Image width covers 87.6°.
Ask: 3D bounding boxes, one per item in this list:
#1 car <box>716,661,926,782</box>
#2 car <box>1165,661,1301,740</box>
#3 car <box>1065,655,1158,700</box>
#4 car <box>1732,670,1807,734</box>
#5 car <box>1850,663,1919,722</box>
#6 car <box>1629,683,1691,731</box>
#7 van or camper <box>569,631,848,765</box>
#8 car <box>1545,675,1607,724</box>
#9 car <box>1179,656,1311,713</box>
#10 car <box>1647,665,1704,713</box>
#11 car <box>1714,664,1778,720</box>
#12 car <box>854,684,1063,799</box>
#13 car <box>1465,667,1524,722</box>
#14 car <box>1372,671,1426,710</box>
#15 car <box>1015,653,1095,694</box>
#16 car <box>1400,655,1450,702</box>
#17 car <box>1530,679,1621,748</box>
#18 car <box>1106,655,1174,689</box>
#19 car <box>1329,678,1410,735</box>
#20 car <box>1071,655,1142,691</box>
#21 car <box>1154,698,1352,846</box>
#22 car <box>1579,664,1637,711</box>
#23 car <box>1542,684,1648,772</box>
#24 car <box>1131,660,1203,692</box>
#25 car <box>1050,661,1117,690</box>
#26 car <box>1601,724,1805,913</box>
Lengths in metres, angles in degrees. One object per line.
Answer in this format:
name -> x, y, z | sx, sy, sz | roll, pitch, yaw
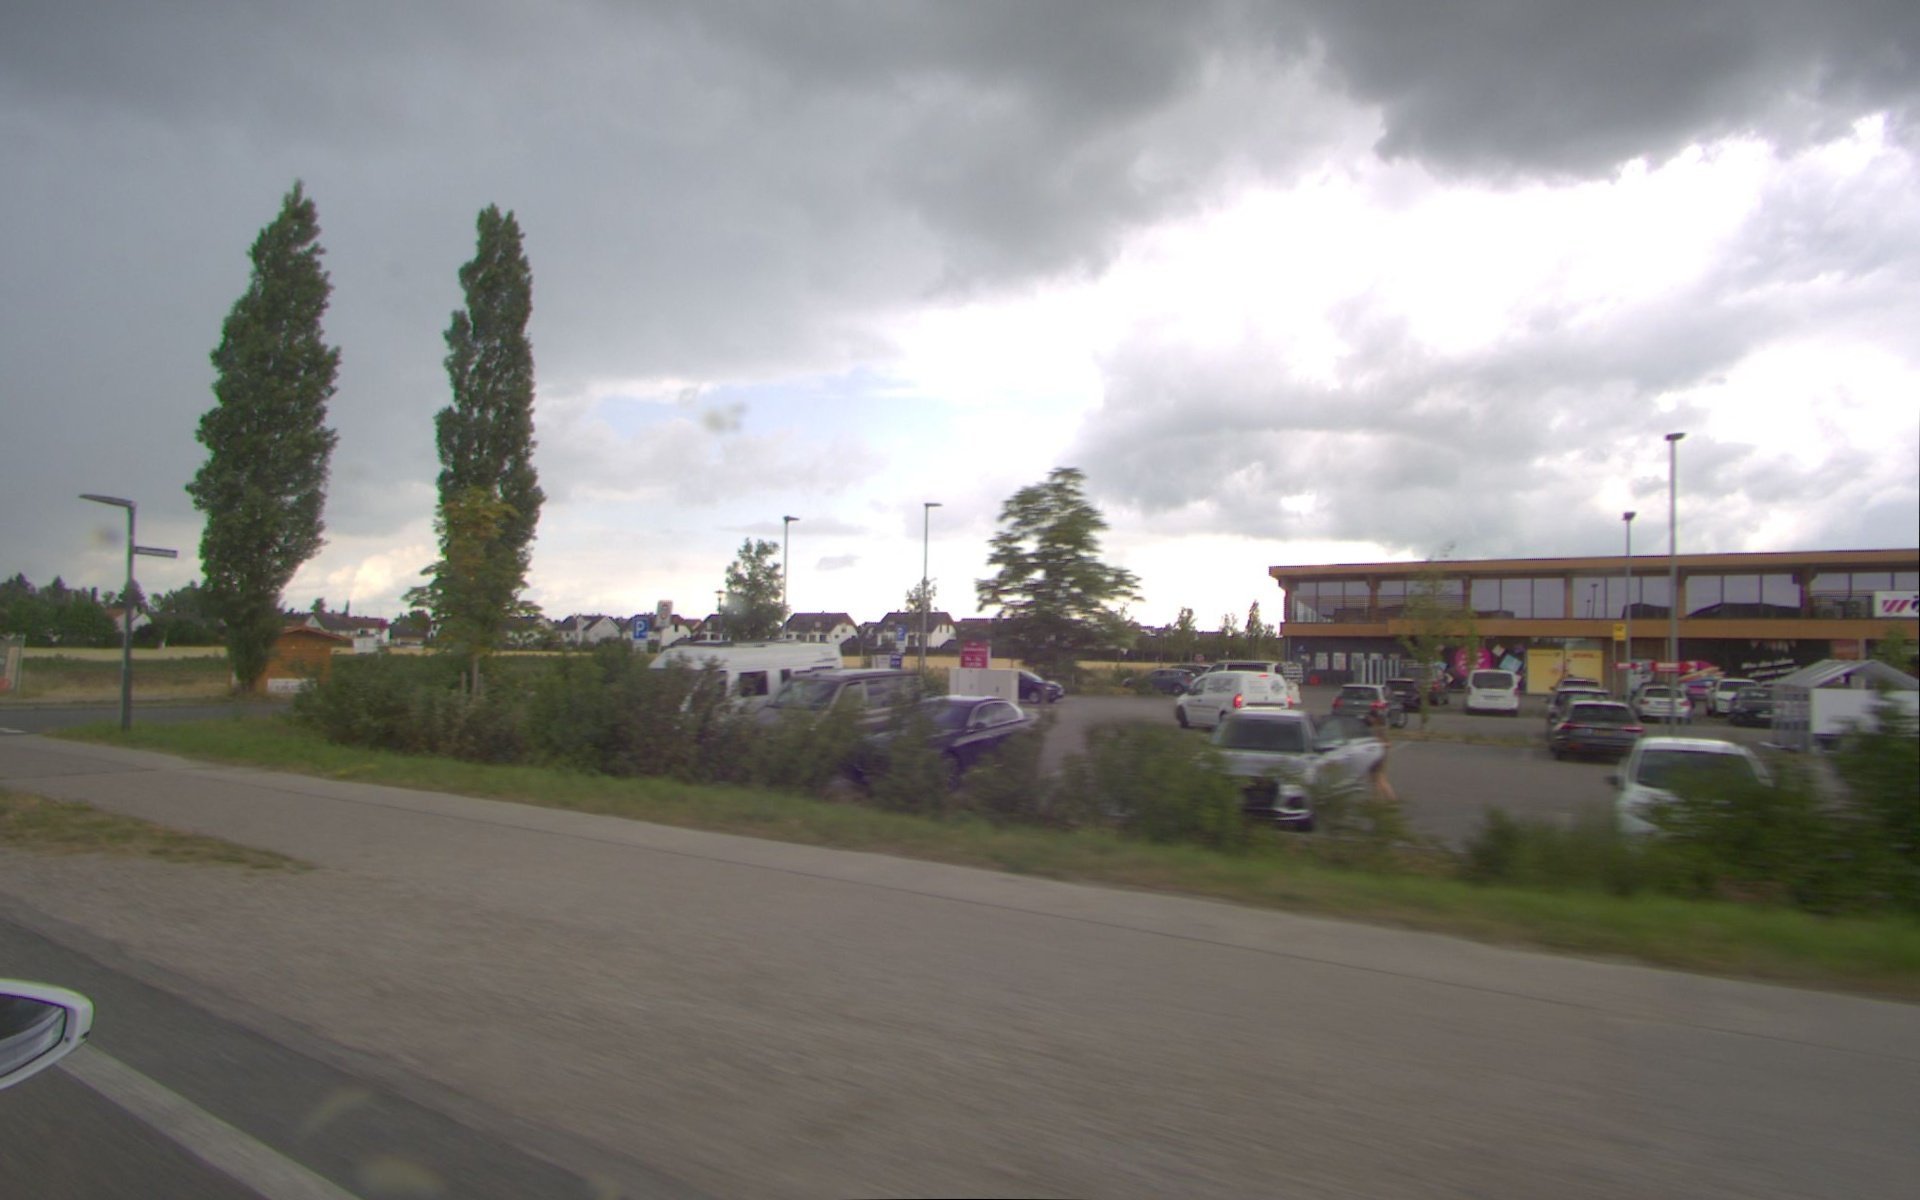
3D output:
car -> -2.762, 2.407, 21.017 | 1.970, 2.040, 4.587 | 0, -1, 30
car -> 7.977, 2.892, 29.830 | 2.070, 1.931, 4.941 | 0, -1, -9
car -> 7.624, 3.892, 50.590 | 4.227, 2.040, 1.989 | -1, -1, 34
car -> 29.868, 3.703, 37.045 | 1.974, 2.040, 3.974 | 0, -1, 37
car -> 37.996, 3.687, 40.542 | 1.971, 2.040, 5.122 | 0, -1, 31
car -> 26.829, 4.064, 38.459 | 1.768, 1.496, 3.731 | 0, -1, 32
van or camper -> -5.339, 1.976, 22.492 | 2.247, 2.496, 6.459 | 0, -1, 30
car -> 24.534, 3.906, 39.880 | 2.010, 1.628, 3.731 | 0, -1, 32
car -> 11.795, 3.445, 41.738 | 1.976, 2.040, 5.195 | 1, -1, -37
car -> 30.816, 3.777, 43.095 | 1.920, 1.772, 3.974 | 0, -1, 36
car -> 32.857, 3.812, 41.960 | 1.974, 2.040, 3.974 | 0, -1, 37
car -> 0.152, 2.590, 19.423 | 1.732, 1.618, 5.089 | 0, -1, 30
car -> 21.949, 3.798, 41.035 | 2.009, 1.936, 3.888 | 0, -1, 30
car -> 18.637, 3.783, 42.448 | 1.748, 1.400, 3.457 | 0, -1, 30
car -> 5.211, 3.976, 54.903 | 3.943, 2.040, 1.990 | -1, -1, 32
car -> 22.601, 3.752, 48.635 | 1.824, 2.036, 4.212 | 0, -1, 30
car -> 18.253, 3.280, 29.614 | 1.974, 1.639, 3.974 | 0, -1, 37
car -> 11.892, 4.708, 66.220 | 3.943, 2.040, 1.990 | -1, -1, 32
car -> 13.280, 3.381, 32.372 | 1.874, 1.451, 4.172 | 0, -1, 30
car -> 9.118, 4.506, 62.245 | 3.943, 2.040, 1.990 | -1, -1, 32
car -> 4.715, 2.519, 15.668 | 2.049, 1.618, 4.141 | 0, -1, 30
car -> 28.345, 3.768, 43.742 | 1.920, 1.772, 3.974 | 0, -1, 36
car -> 15.130, 2.959, 23.919 | 1.972, 1.639, 3.980 | 0, -1, 32
car -> 11.288, 4.128, 54.666 | 3.528, 1.527, 1.742 | -1, -1, 32
car -> 7.278, 4.440, 58.881 | 3.528, 1.527, 1.742 | -1, -1, 32
car -> 9.332, 2.600, 12.883 | 1.651, 1.558, 4.141 | 0, -1, 30
